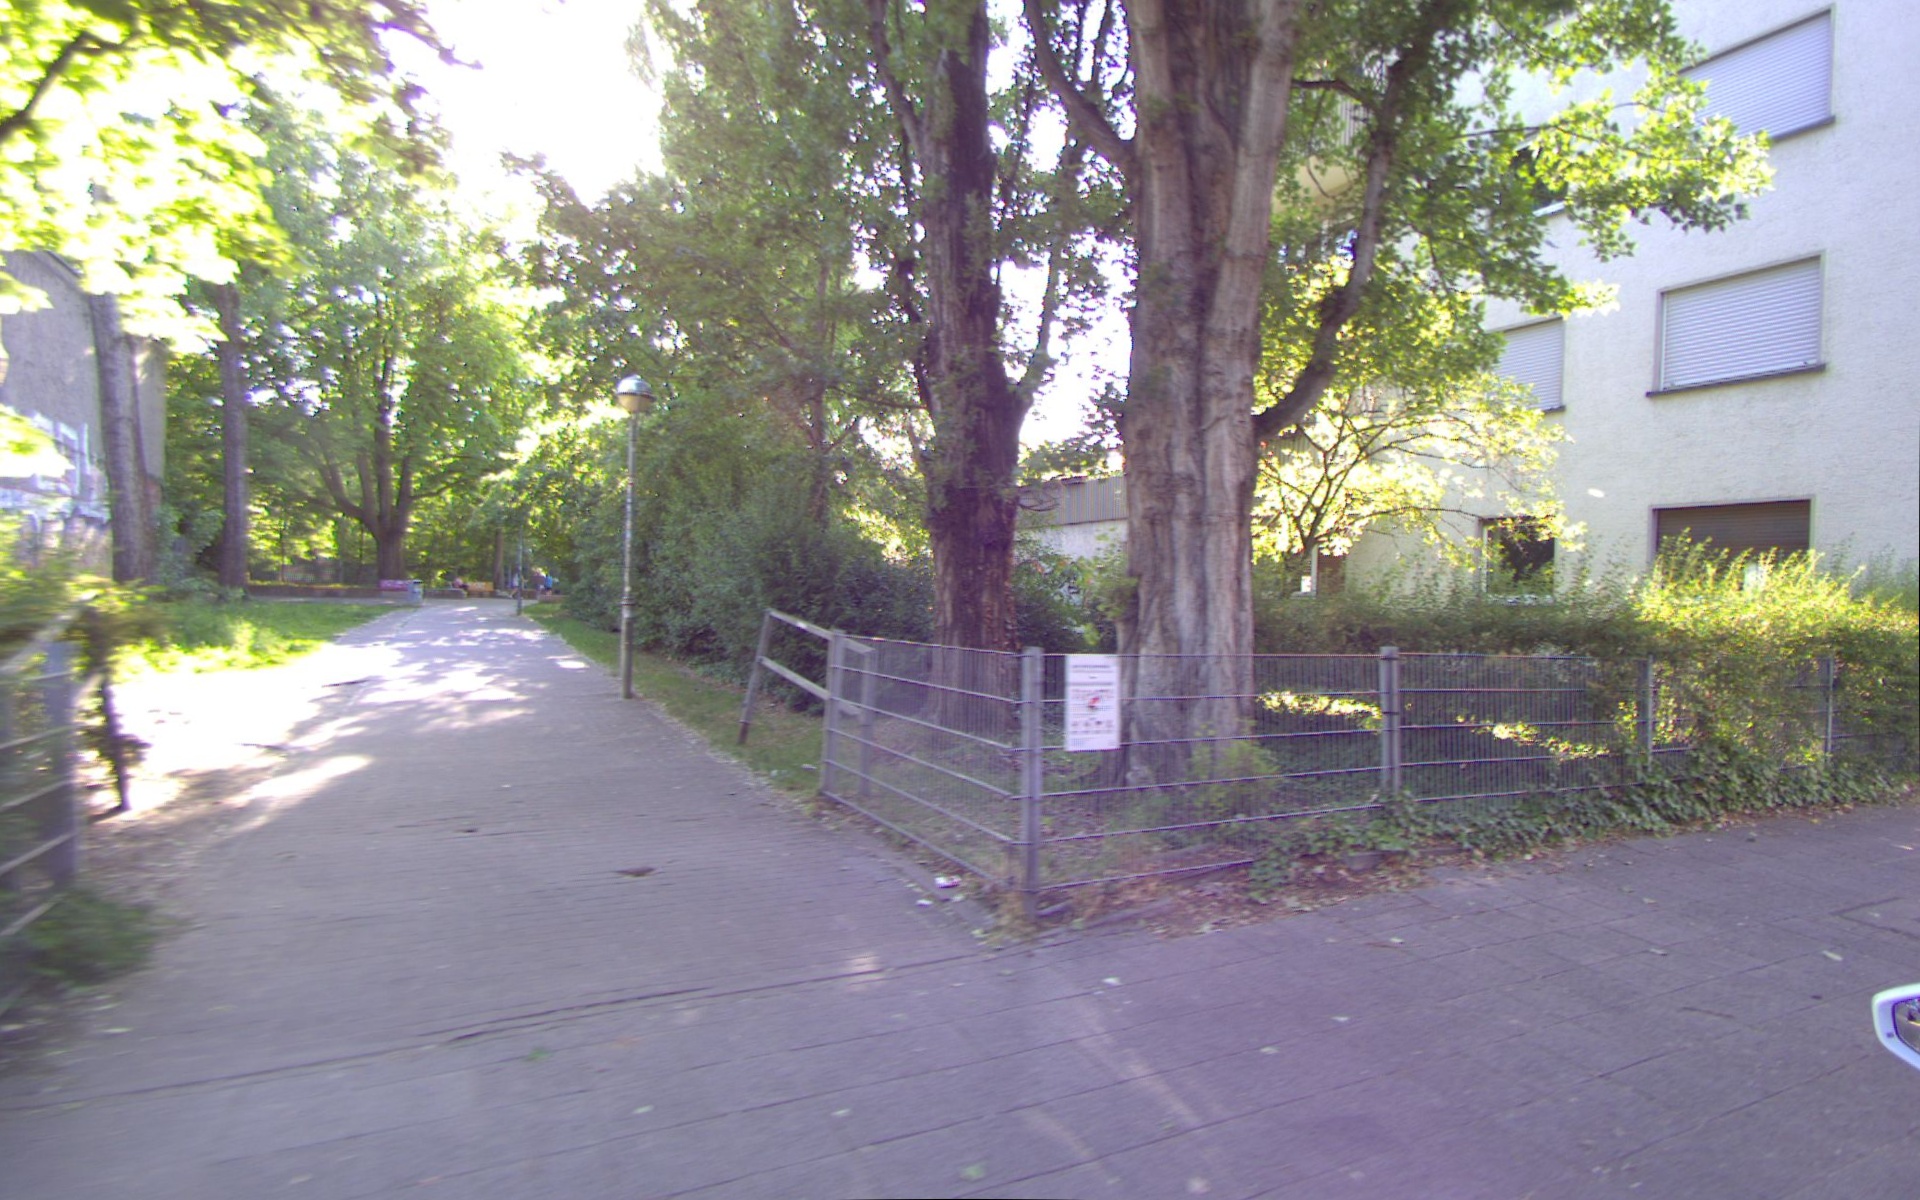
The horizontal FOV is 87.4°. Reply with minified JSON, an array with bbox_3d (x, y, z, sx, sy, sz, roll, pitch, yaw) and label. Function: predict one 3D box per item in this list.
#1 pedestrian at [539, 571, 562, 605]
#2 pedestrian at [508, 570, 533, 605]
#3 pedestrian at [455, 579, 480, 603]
[{"bbox_3d":[-20.055,-0.585,49.223,0.753,1.603,0.766,2,1,37],"label":"pedestrian"},{"bbox_3d":[-20.458,-0.561,46.784,0.753,1.603,0.766,2,1,37],"label":"pedestrian"},{"bbox_3d":[-22.981,-0.413,46.888,0.753,1.105,0.766,2,1,37],"label":"pedestrian"}]
